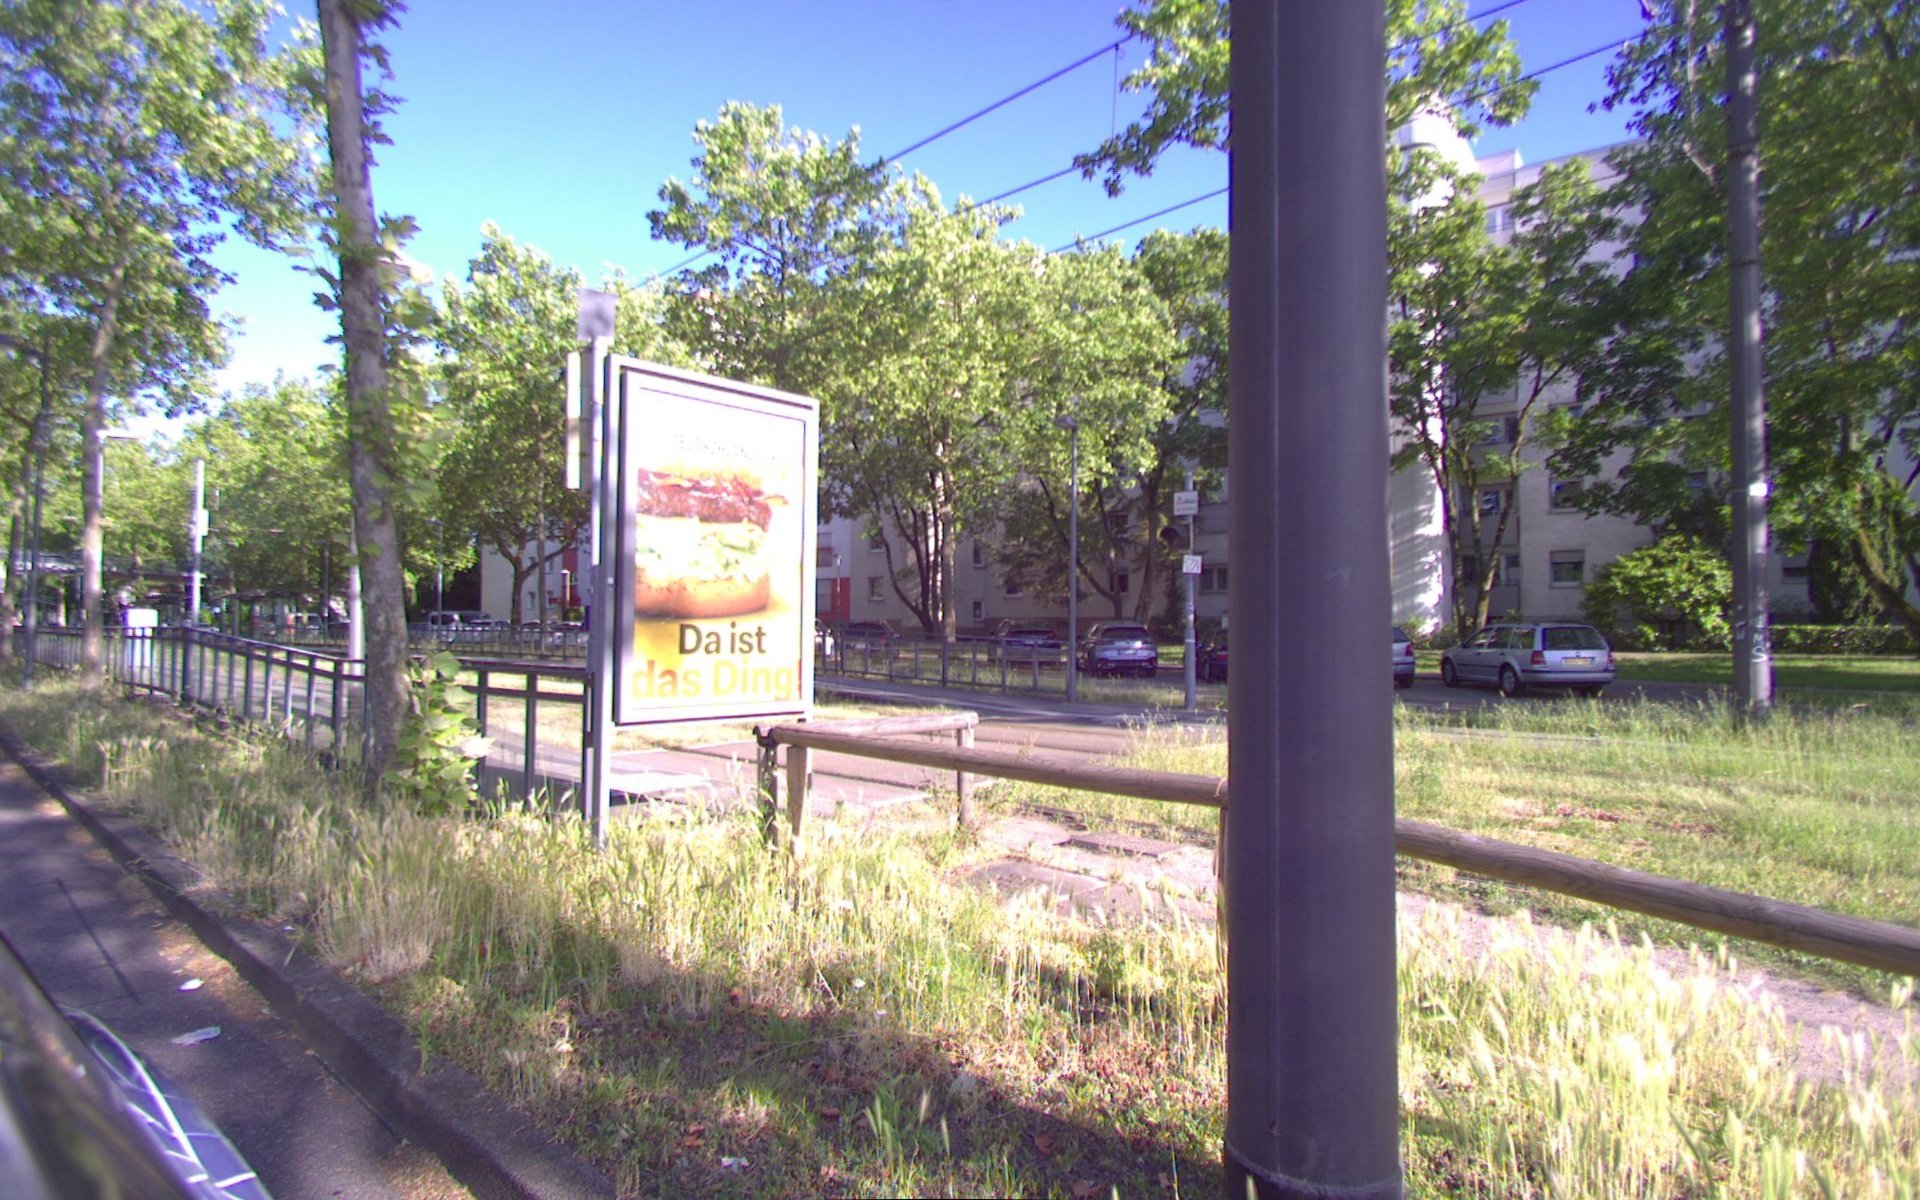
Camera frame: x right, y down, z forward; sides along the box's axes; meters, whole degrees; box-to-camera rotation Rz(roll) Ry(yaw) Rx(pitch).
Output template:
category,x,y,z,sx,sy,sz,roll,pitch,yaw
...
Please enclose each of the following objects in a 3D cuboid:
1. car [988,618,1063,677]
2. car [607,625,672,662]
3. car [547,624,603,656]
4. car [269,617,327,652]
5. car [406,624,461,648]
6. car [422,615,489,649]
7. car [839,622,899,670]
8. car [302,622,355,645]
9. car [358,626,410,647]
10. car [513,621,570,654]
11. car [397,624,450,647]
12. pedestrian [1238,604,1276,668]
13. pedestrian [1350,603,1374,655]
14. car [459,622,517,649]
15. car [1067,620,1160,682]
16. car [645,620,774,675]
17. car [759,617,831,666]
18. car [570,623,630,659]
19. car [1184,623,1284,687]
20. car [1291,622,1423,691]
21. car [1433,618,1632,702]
category,x,y,z,sx,sy,sz,roll,pitch,yaw
car,1.856,1.344,29.796,1.669,1.499,4.003,-1,0,-4
car,-14.088,1.890,44.616,1.470,1.425,3.880,-1,0,3
car,-18.770,1.914,49.478,1.459,1.339,3.488,-2,0,-1
car,-39.102,1.997,59.731,4.652,2.007,1.772,-1,-2,43
car,-30.872,2.082,59.405,1.459,1.354,3.488,0,-1,-1
car,-28.418,1.774,57.159,1.843,1.826,4.048,0,-1,-1
car,-3.069,1.538,34.700,1.538,1.439,3.761,-1,0,3
car,-45.009,2.377,72.207,1.578,1.538,3.737,0,-1,-3
car,-37.527,2.372,66.051,1.459,1.330,3.488,0,-1,-1
car,-21.119,1.875,51.175,1.539,1.436,3.489,-3,0,-2
car,-33.066,2.175,62.487,1.459,1.311,3.488,0,-1,-1
pedestrian,8.431,1.019,28.736,0.755,1.770,0.752,-1,-2,41
pedestrian,13.780,0.992,34.697,0.634,1.770,0.516,-1,-2,39
car,-25.822,1.938,55.418,1.605,1.414,3.488,0,-1,-1
car,4.115,1.334,27.704,1.650,1.469,4.004,-1,0,-4
car,-7.570,1.382,30.428,4.100,1.523,1.746,-1,-2,41
car,-5.995,1.485,37.217,1.791,1.607,3.997,-1,0,3
car,-16.667,1.881,47.024,1.445,1.519,3.393,-1,0,3
car,6.744,1.319,25.314,1.572,1.360,3.922,-1,0,3
car,9.124,1.257,23.552,1.553,1.431,3.620,-1,-1,-1
car,11.511,1.148,20.701,1.685,1.454,3.978,-1,0,-2
